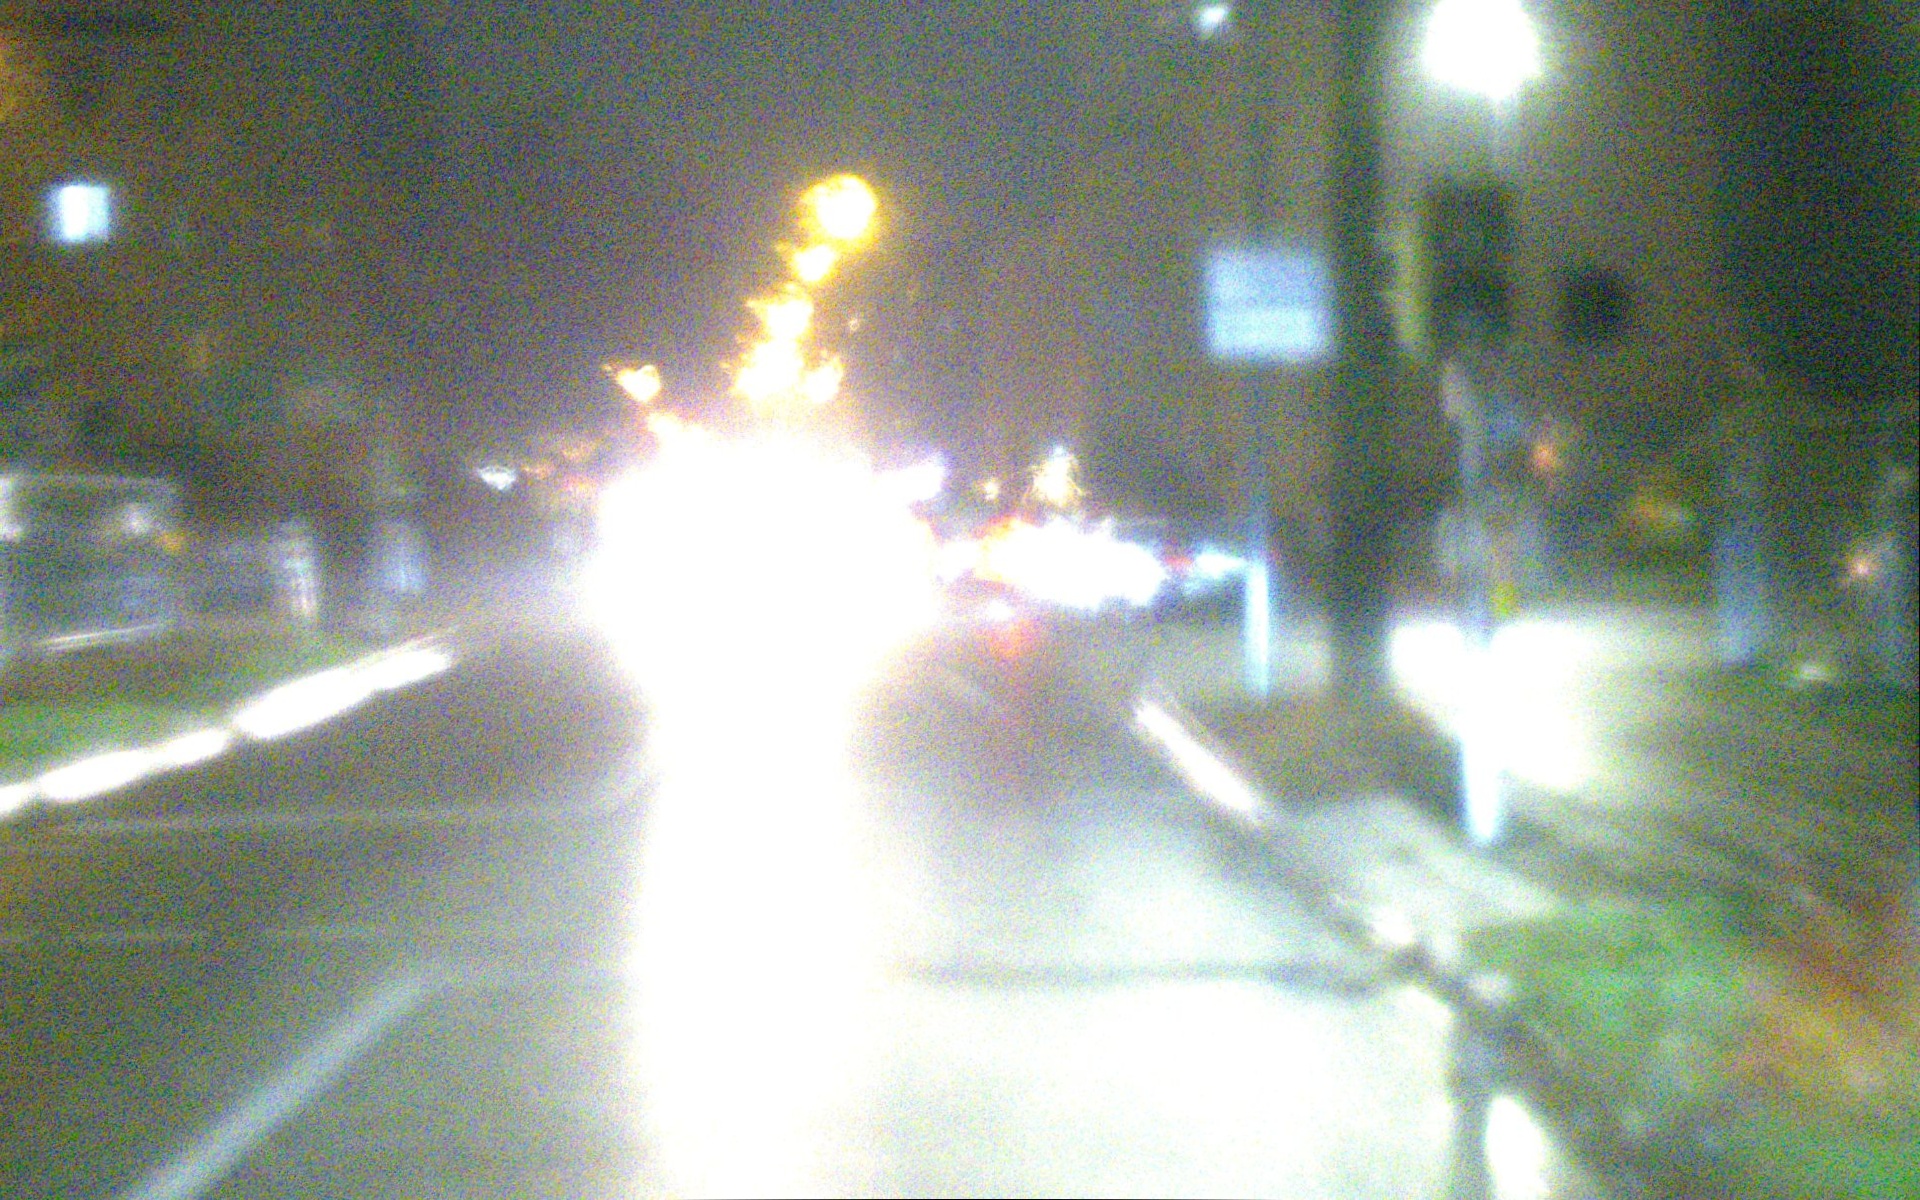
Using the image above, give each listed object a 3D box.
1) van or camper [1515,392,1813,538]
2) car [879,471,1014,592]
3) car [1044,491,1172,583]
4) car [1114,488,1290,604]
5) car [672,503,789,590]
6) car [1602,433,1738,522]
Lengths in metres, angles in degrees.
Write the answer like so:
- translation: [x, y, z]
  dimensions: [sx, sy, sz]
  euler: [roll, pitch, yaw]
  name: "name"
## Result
- translation: [13.088, -2.518, 64.144]
  dimensions: [5.062, 2.518, 2.172]
  euler: [-2, 2, 0]
  name: "van or camper"
- translation: [-0.226, -1.106, 53.822]
  dimensions: [1.993, 1.678, 4.001]
  euler: [-1, 4, -1]
  name: "car"
- translation: [2.553, -1.136, 60.260]
  dimensions: [1.713, 1.483, 4.437]
  euler: [-3, 2, -4]
  name: "car"
- translation: [3.410, -0.815, 49.196]
  dimensions: [1.789, 1.444, 4.792]
  euler: [-4, 2, -4]
  name: "car"
- translation: [-4.044, -0.967, 60.999]
  dimensions: [1.745, 1.428, 4.000]
  euler: [-2, 2, 0]
  name: "car"
- translation: [12.425, -2.158, 60.321]
  dimensions: [1.562, 1.464, 3.408]
  euler: [-2, 3, -1]
  name: "car"
